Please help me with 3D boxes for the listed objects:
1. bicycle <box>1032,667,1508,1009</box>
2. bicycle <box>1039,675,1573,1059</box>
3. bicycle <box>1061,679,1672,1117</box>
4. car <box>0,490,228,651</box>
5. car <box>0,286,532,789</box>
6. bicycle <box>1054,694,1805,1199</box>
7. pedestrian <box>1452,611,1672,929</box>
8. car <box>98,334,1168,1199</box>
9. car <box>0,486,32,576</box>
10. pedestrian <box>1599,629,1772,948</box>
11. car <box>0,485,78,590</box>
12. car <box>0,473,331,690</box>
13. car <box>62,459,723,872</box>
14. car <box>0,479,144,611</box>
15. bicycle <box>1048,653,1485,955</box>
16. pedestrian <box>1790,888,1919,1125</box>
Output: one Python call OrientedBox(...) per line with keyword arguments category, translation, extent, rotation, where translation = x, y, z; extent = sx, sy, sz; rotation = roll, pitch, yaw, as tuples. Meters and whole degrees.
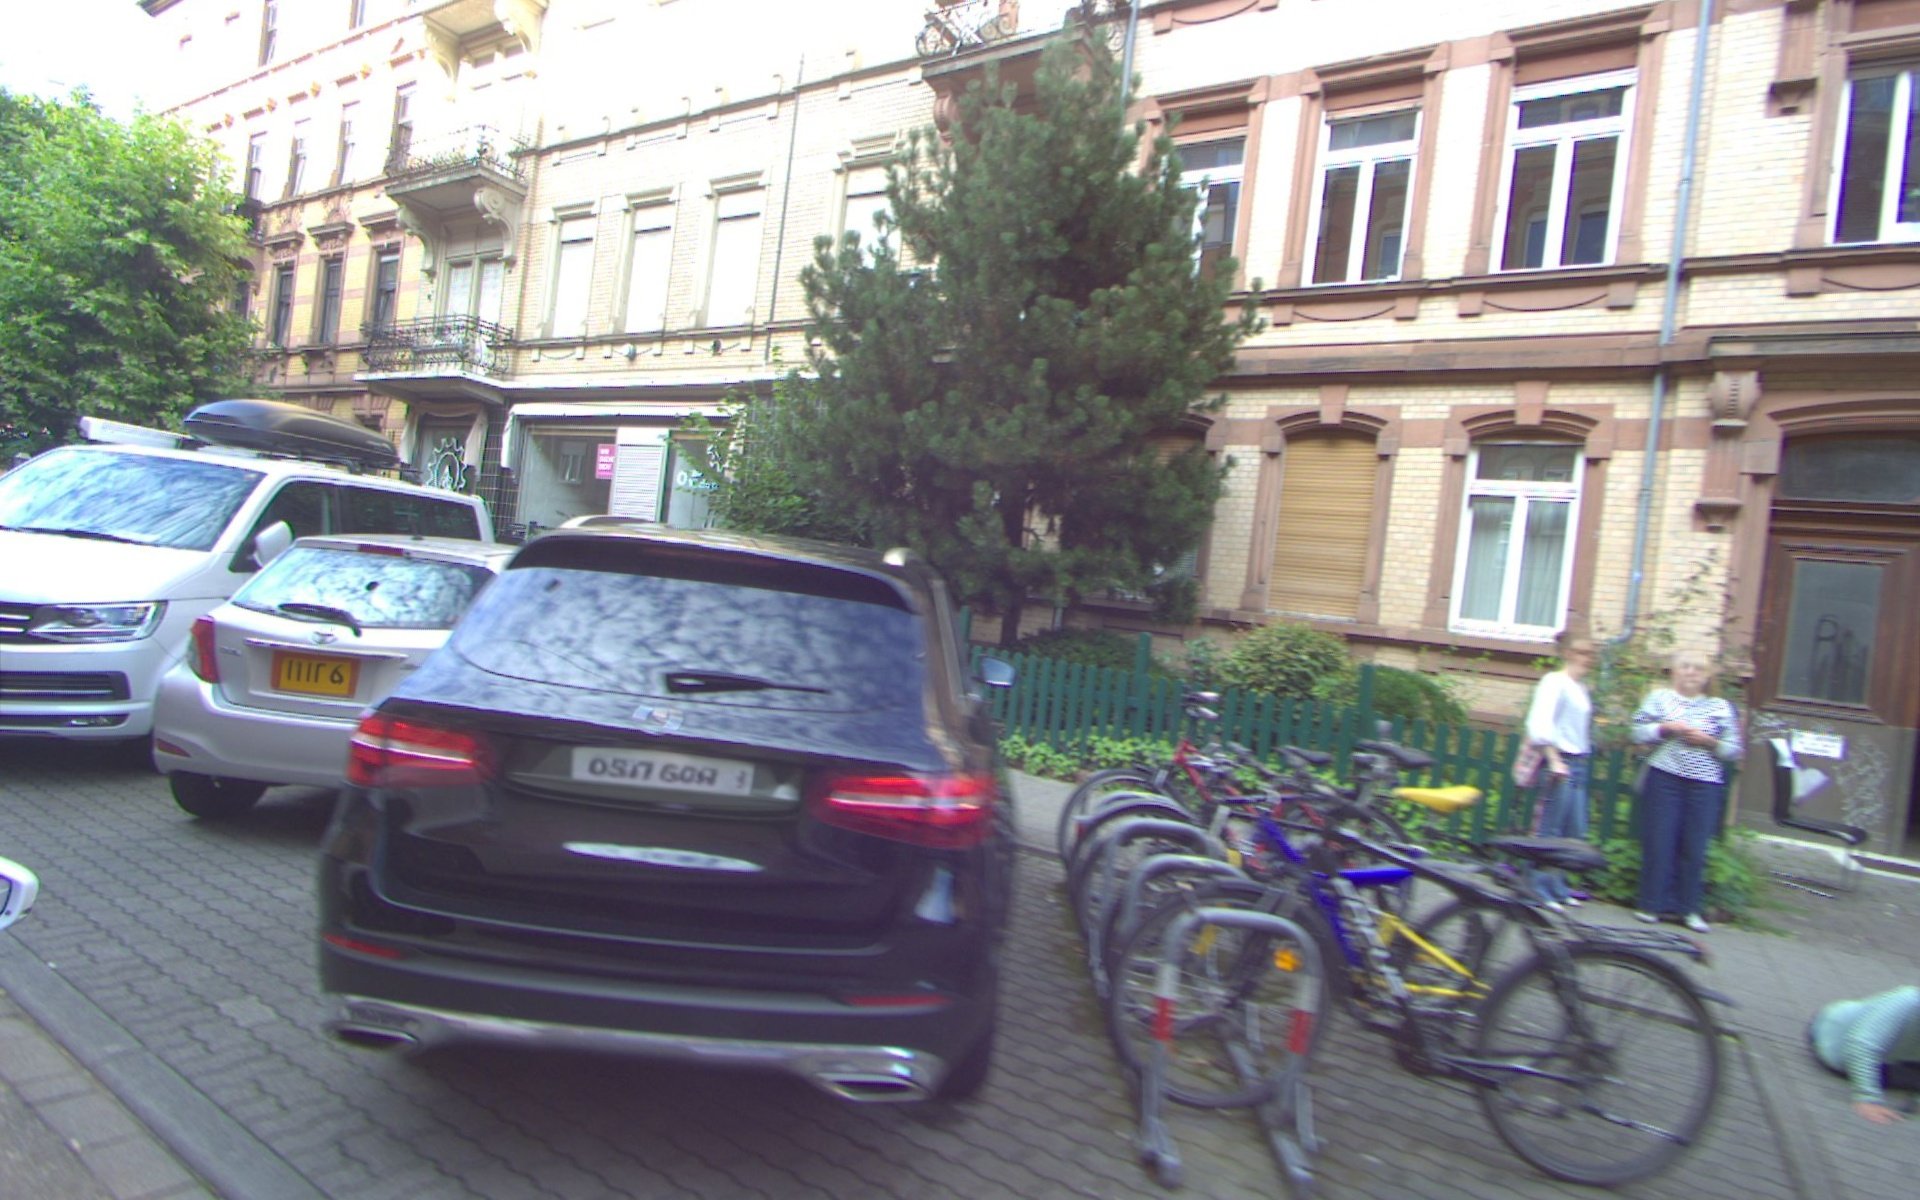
OrientedBox(category="bicycle", translation=(1.305, 1.008, 4.413), extent=(1.833, 1.197, 0.405), rotation=(7, 1, 1))
OrientedBox(category="bicycle", translation=(1.300, 1.012, 3.959), extent=(1.833, 1.197, 0.405), rotation=(7, 1, 1))
OrientedBox(category="bicycle", translation=(1.348, 0.994, 3.507), extent=(1.833, 1.197, 0.405), rotation=(7, 1, 1))
OrientedBox(category="car", translation=(-10.033, -0.397, 10.833), extent=(1.721, 1.478, 3.987), rotation=(7, 1, -9))
OrientedBox(category="car", translation=(-5.348, -0.386, 7.524), extent=(1.882, 2.435, 5.158), rotation=(6, 0, 0))
OrientedBox(category="bicycle", translation=(1.294, 1.002, 2.958), extent=(1.882, 1.197, 0.405), rotation=(7, 1, 1))
OrientedBox(category="pedestrian", translation=(3.538, 0.967, 5.956), extent=(0.687, 1.715, 0.647), rotation=(8, -1, -11))
OrientedBox(category="car", translation=(-0.737, 0.516, 4.292), extent=(1.964, 1.752, 4.457), rotation=(8, -1, -2))
OrientedBox(category="car", translation=(-16.895, -1.226, 15.579), extent=(1.710, 1.504, 3.714), rotation=(7, 1, -5))
OrientedBox(category="pedestrian", translation=(4.216, 1.062, 5.894), extent=(0.622, 1.678, 0.574), rotation=(7, -1, 33))
OrientedBox(category="car", translation=(-14.816, -0.976, 13.589), extent=(1.845, 1.483, 4.464), rotation=(7, 1, -2))
OrientedBox(category="car", translation=(-7.627, -0.202, 9.679), extent=(1.321, 1.689, 2.466), rotation=(8, 3, 6))
OrientedBox(category="car", translation=(-2.988, 0.336, 6.551), extent=(1.839, 1.567, 4.237), rotation=(8, -1, -2))
OrientedBox(category="car", translation=(-12.405, -0.731, 12.077), extent=(1.856, 1.496, 4.459), rotation=(7, 2, -7))
OrientedBox(category="bicycle", translation=(1.473, 0.983, 5.173), extent=(1.899, 1.161, 0.810), rotation=(7, 1, 3))
OrientedBox(category="pedestrian", translation=(3.547, 1.507, 3.660), extent=(0.485, 0.672, 0.691), rotation=(4, 1, -40))
